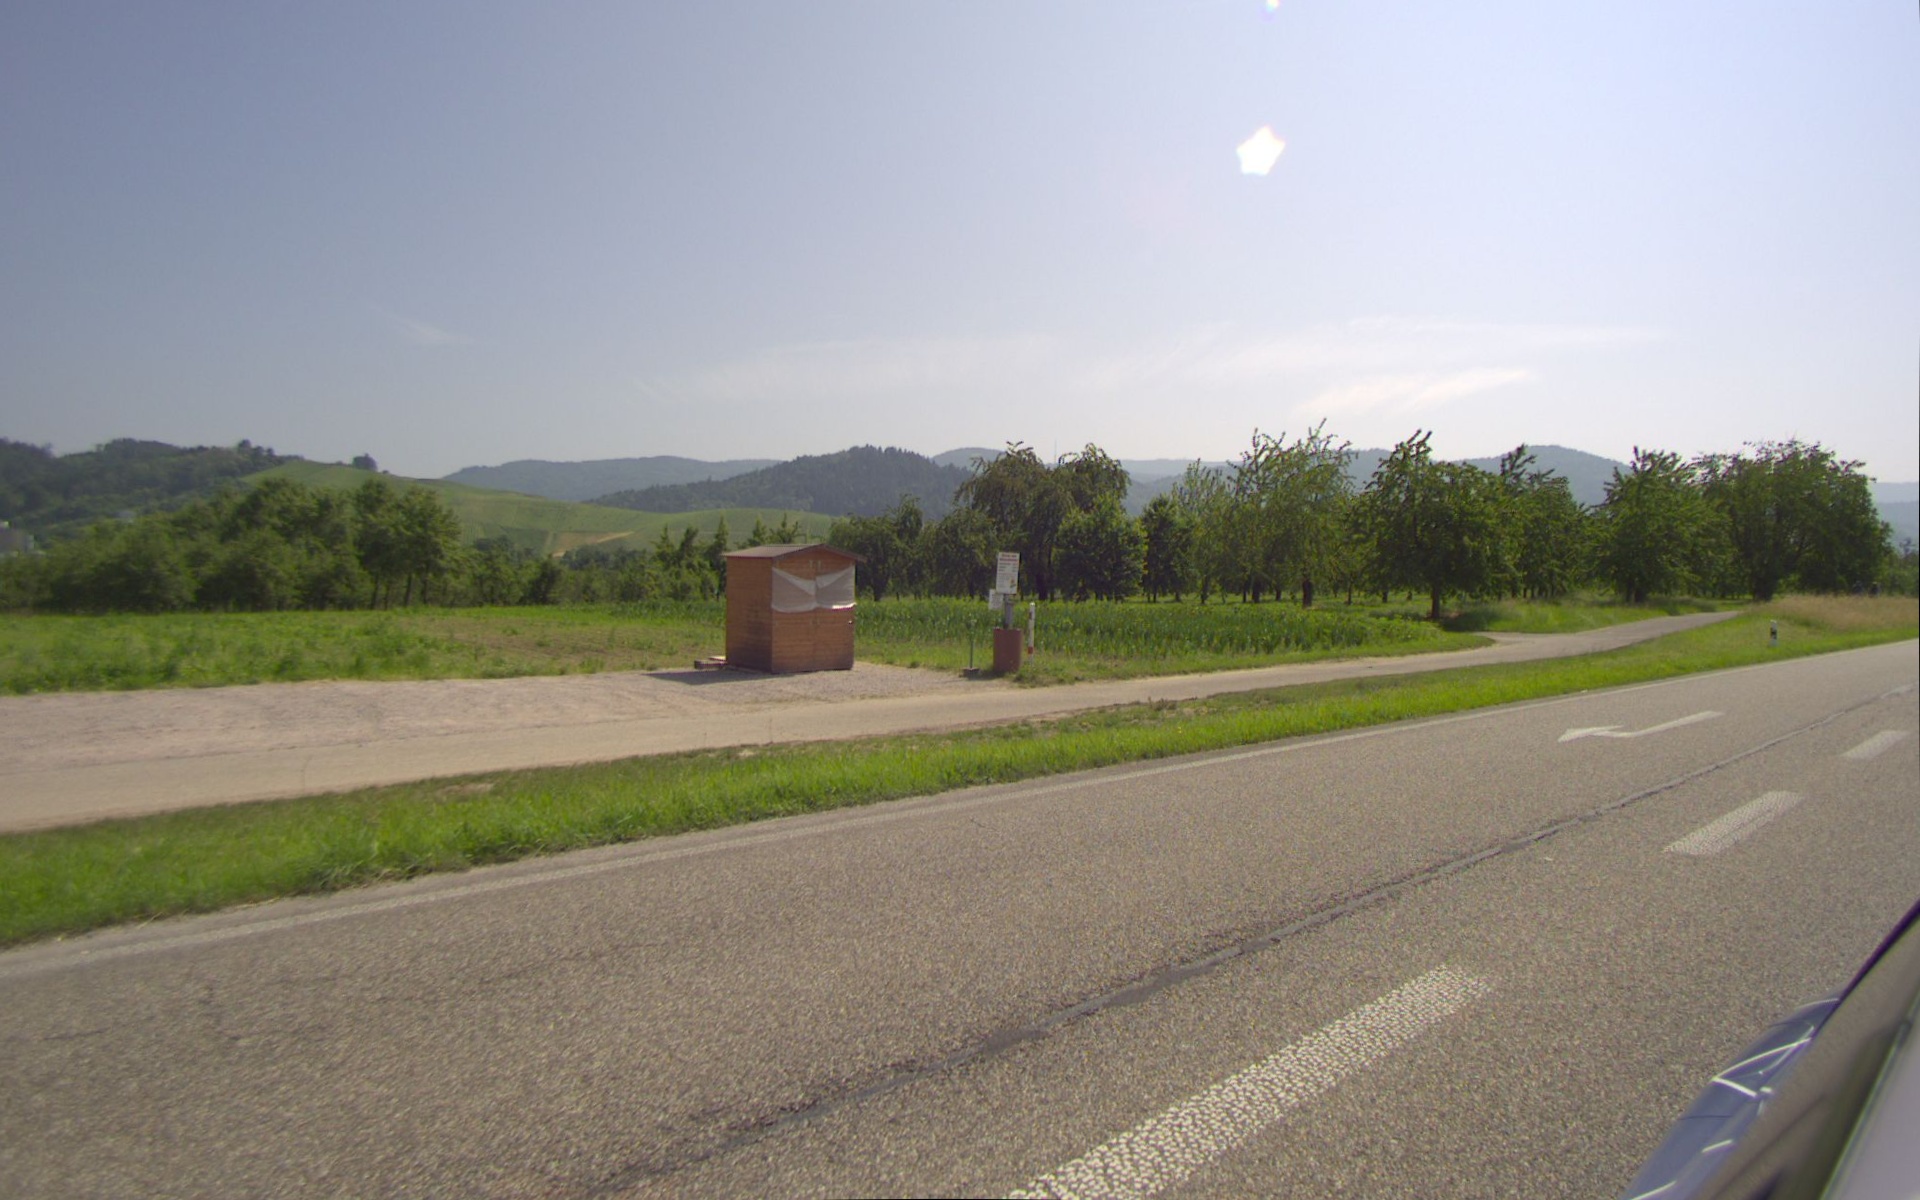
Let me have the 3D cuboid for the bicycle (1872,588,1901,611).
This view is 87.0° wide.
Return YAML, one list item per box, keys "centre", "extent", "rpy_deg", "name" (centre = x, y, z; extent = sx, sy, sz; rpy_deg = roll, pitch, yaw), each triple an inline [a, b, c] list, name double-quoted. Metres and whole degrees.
- centre: [61.009, -0.033, 66.639]
  extent: [2.176, 1.436, 0.753]
  rpy_deg: [1, 2, -30]
  name: "bicycle"

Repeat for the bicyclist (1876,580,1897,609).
- centre: [61.003, -0.382, 66.629]
  extent: [0.852, 1.890, 0.753]
  rpy_deg: [1, 1, -30]
  name: "bicyclist"

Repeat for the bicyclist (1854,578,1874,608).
- centre: [60.256, -0.467, 67.464]
  extent: [0.811, 1.953, 0.753]
  rpy_deg: [1, 1, -30]
  name: "bicyclist"

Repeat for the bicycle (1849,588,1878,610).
- centre: [60.250, -0.058, 67.476]
  extent: [2.176, 1.436, 0.753]
  rpy_deg: [1, 2, -30]
  name: "bicycle"
